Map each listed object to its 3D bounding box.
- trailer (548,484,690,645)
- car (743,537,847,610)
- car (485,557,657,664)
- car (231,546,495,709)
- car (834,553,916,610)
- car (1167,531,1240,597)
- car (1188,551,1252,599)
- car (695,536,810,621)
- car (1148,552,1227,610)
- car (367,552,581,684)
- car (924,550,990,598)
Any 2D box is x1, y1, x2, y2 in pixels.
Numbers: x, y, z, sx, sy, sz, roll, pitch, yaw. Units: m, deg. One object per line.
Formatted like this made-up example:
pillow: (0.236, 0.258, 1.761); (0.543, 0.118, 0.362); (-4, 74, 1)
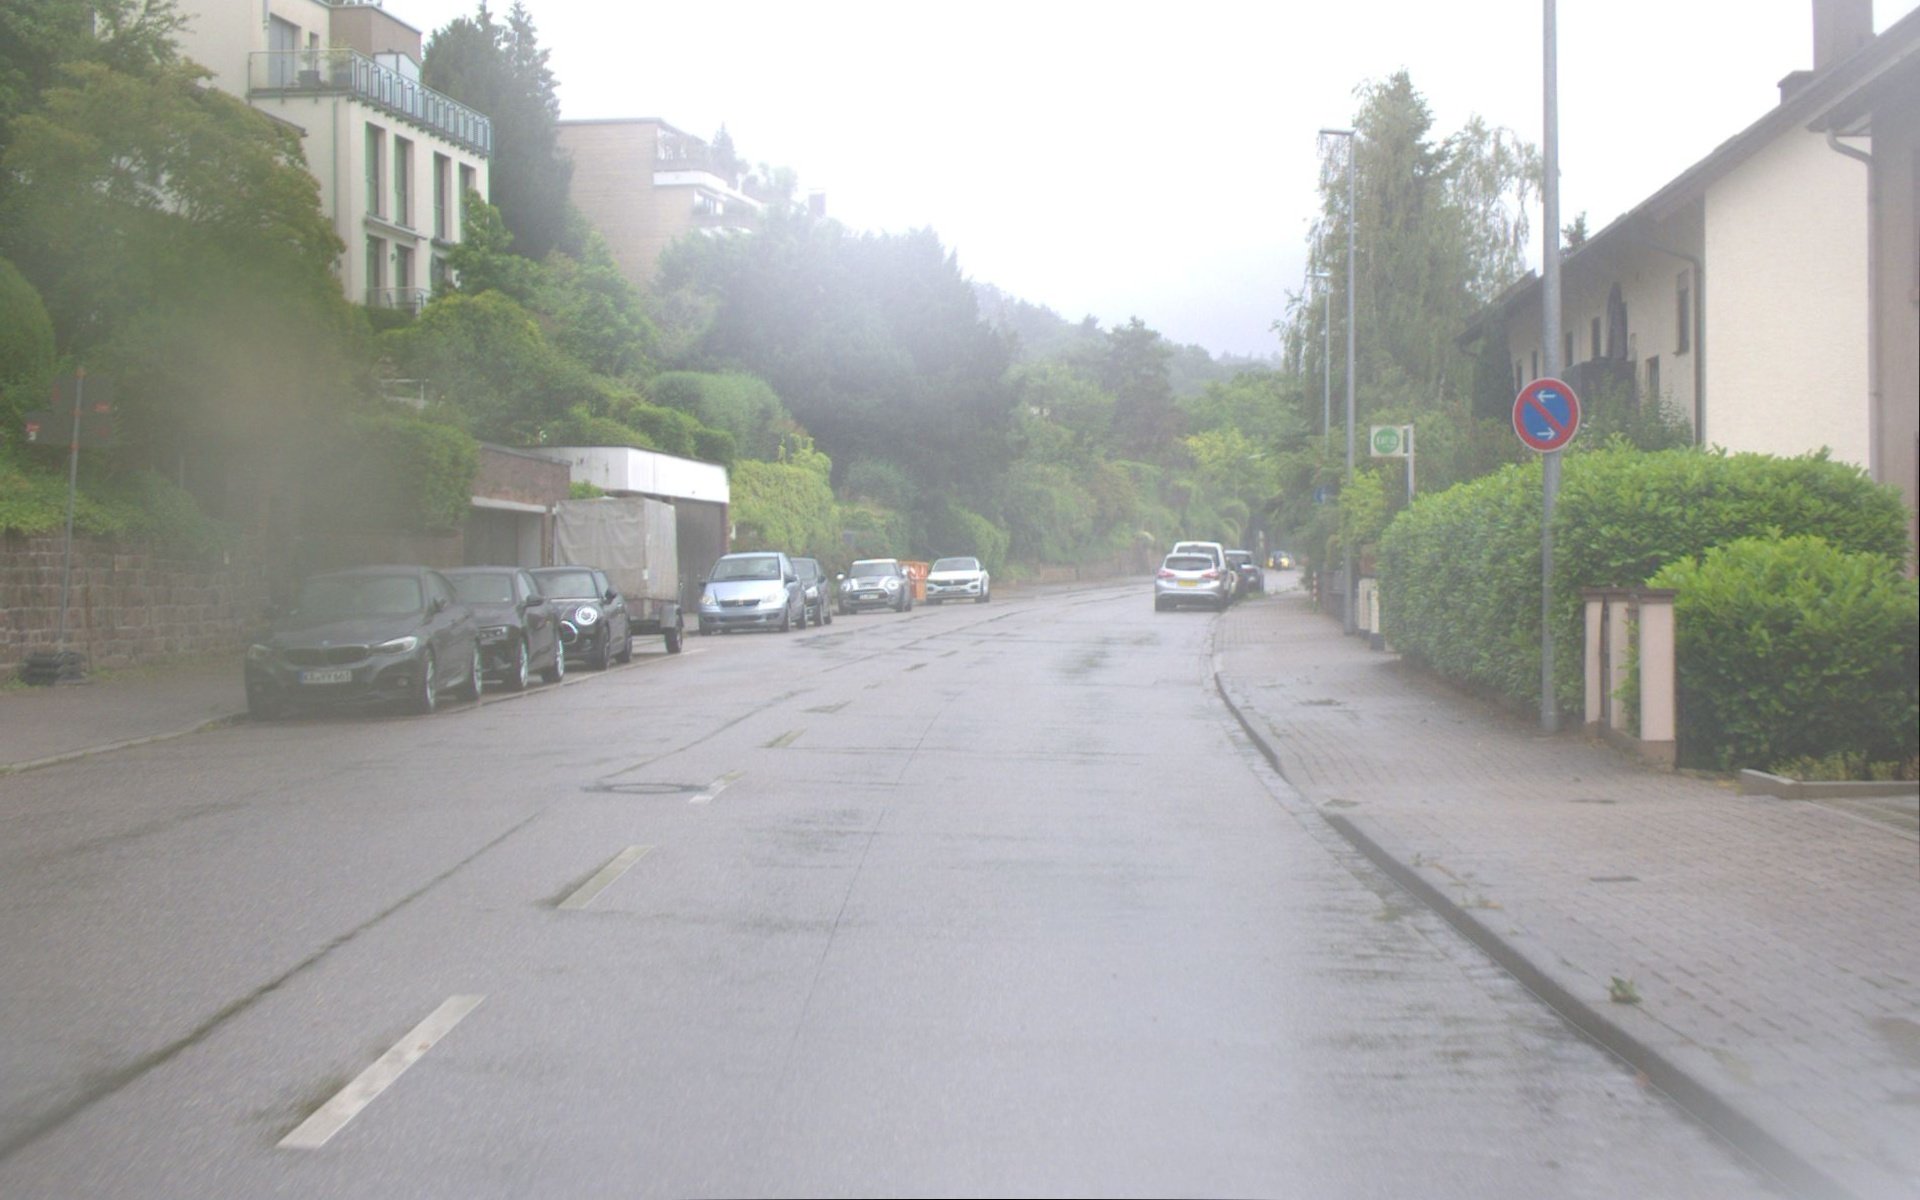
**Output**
trailer: (-5.280, -0.568, 53.576); (1.537, 2.391, 3.072); (-2, 1, 6)
car: (-3.509, -0.584, 73.516); (1.756, 1.404, 3.704); (-3, 1, 4)
car: (-5.365, 0.120, 47.843); (1.808, 1.344, 3.776); (-1, 1, 2)
car: (-6.079, 0.230, 35.516); (1.785, 1.450, 4.755); (-2, 1, 1)
car: (-2.222, -0.505, 90.626); (1.756, 1.397, 3.769); (-3, 1, 4)
car: (6.838, -1.009, 96.129); (1.785, 1.784, 4.360); (0, 1, 7)
car: (7.799, -0.758, 102.825); (1.709, 1.398, 4.202); (0, 1, 7)
car: (-4.076, -0.453, 68.039); (1.756, 1.534, 3.756); (-3, 1, 4)
car: (6.009, -0.513, 90.433); (1.790, 1.455, 4.307); (0, 1, 7)
car: (-5.762, 0.174, 41.235); (1.785, 1.410, 4.217); (-1, 1, 2)
car: (-0.079, -0.834, 109.824); (1.756, 1.492, 4.219); (-1, 0, 5)
